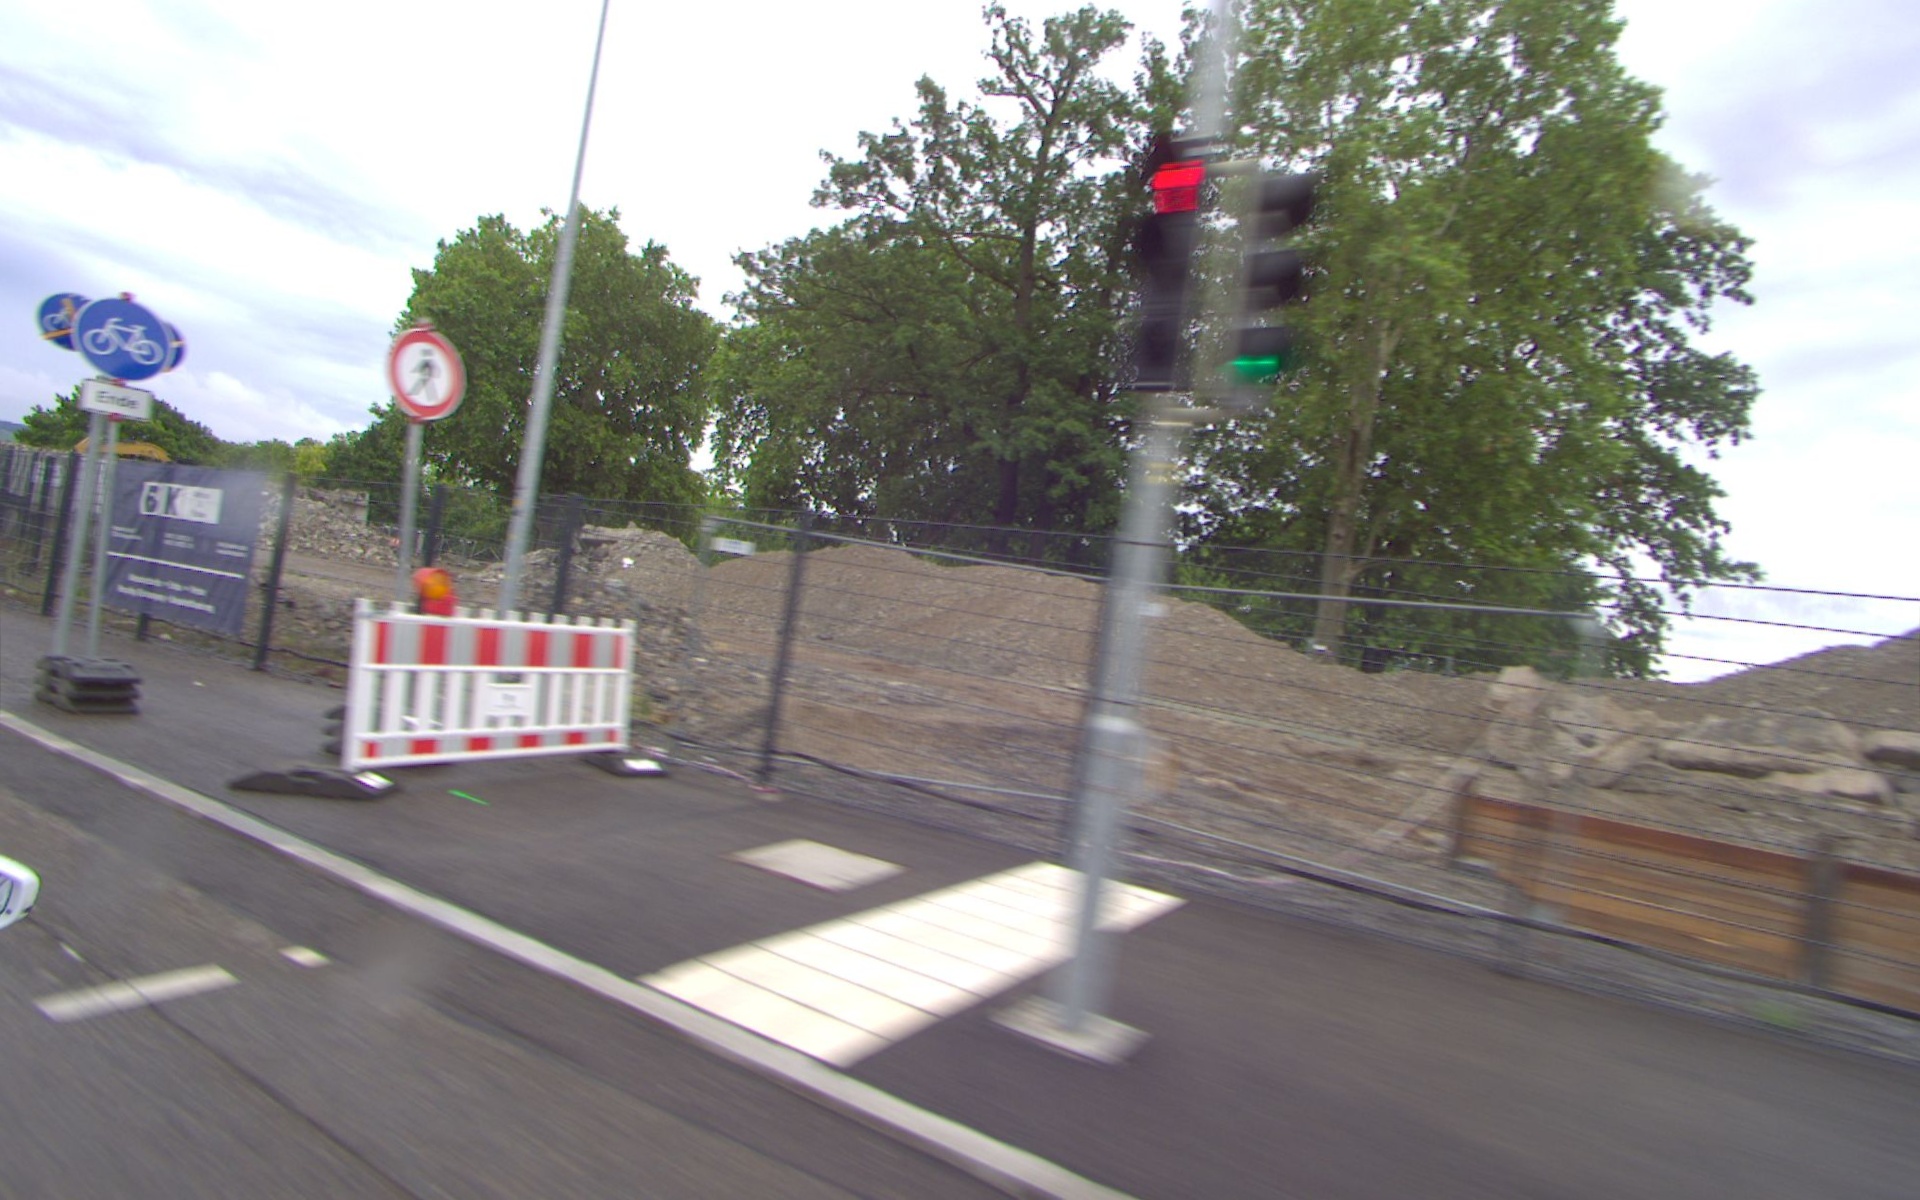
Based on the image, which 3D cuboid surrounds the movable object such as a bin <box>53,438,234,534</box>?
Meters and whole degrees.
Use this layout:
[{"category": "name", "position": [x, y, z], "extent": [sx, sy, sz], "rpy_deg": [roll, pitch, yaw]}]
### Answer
[{"category": "movable object such as a bin", "position": [-70.184, -9.641, 86.868], "extent": [3.438, 6.066, 11.235], "rpy_deg": [6, -2, 37]}]
